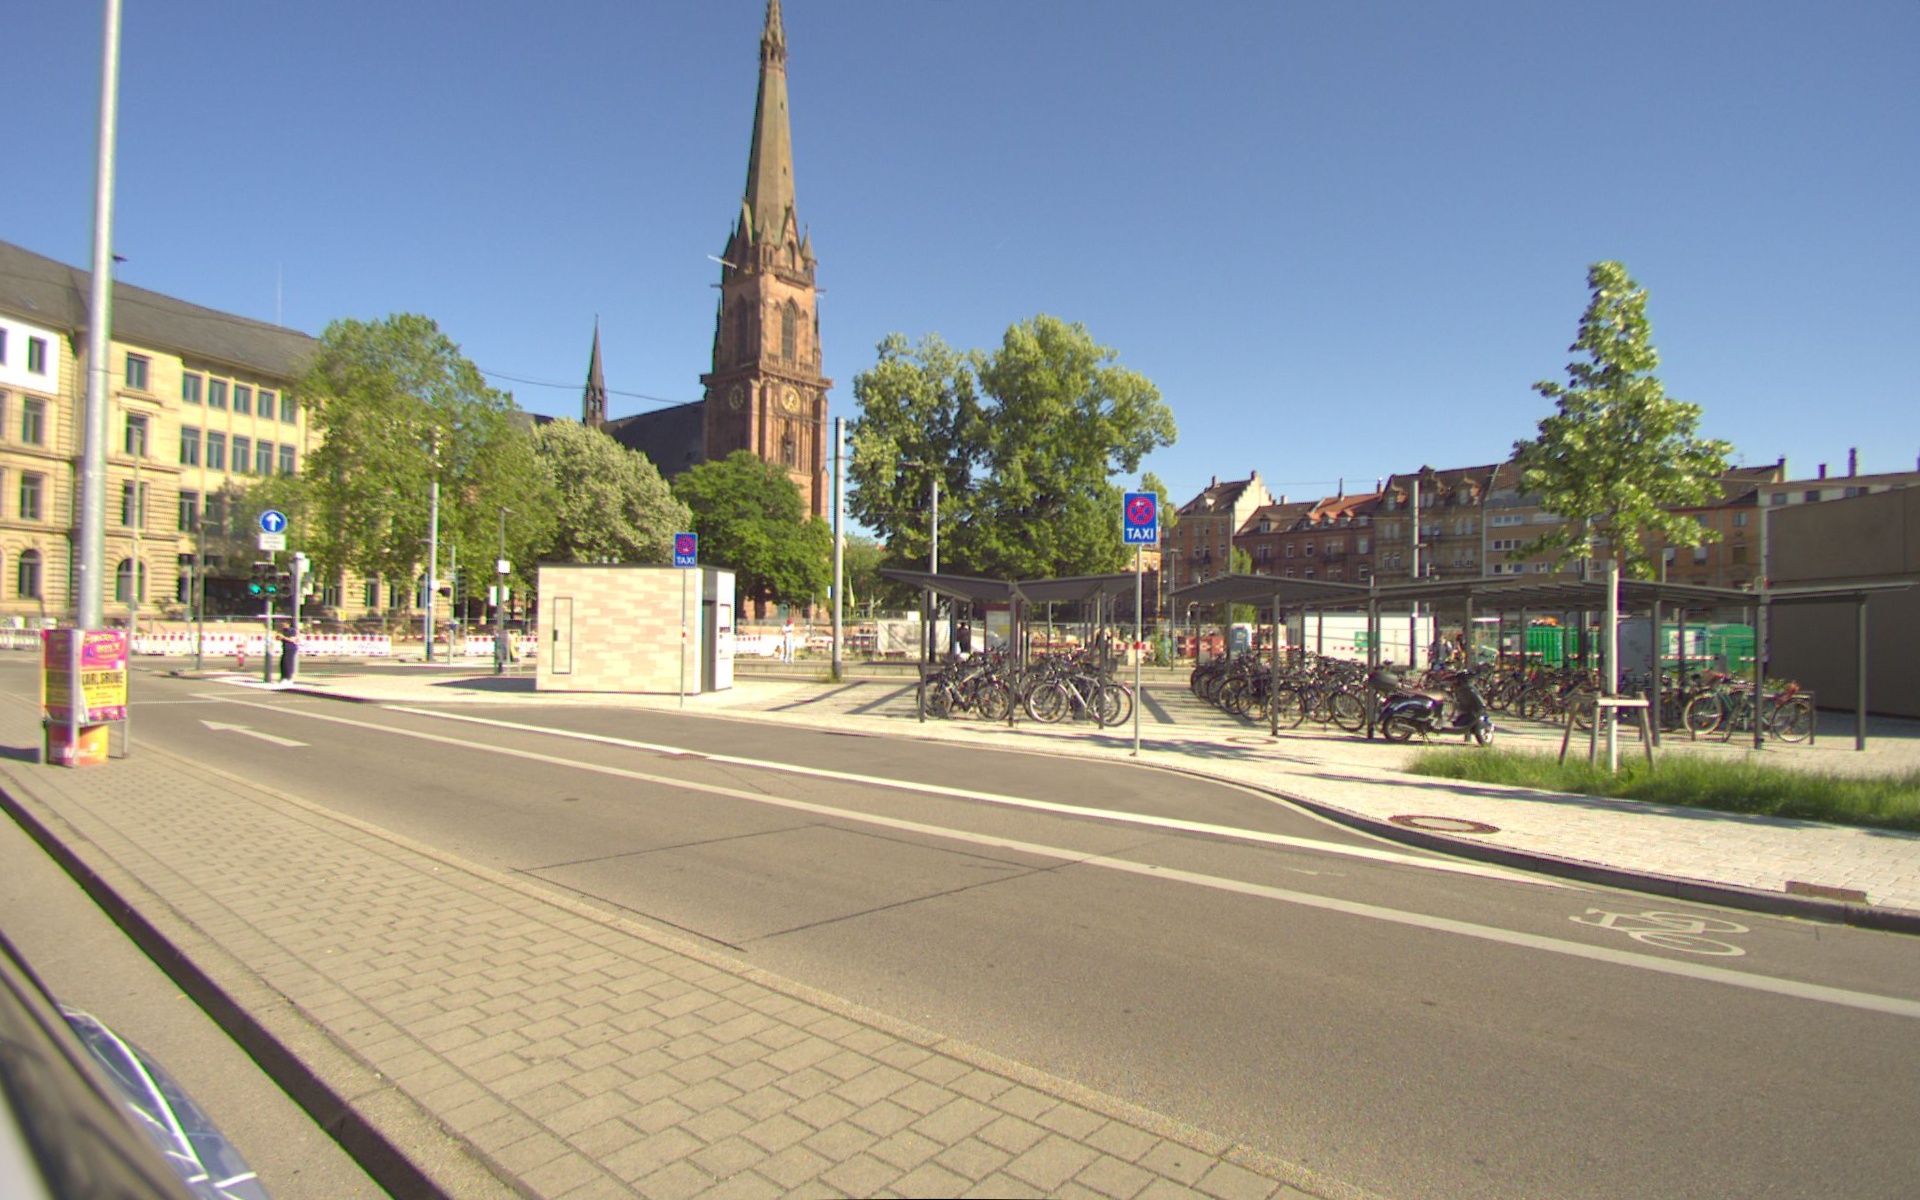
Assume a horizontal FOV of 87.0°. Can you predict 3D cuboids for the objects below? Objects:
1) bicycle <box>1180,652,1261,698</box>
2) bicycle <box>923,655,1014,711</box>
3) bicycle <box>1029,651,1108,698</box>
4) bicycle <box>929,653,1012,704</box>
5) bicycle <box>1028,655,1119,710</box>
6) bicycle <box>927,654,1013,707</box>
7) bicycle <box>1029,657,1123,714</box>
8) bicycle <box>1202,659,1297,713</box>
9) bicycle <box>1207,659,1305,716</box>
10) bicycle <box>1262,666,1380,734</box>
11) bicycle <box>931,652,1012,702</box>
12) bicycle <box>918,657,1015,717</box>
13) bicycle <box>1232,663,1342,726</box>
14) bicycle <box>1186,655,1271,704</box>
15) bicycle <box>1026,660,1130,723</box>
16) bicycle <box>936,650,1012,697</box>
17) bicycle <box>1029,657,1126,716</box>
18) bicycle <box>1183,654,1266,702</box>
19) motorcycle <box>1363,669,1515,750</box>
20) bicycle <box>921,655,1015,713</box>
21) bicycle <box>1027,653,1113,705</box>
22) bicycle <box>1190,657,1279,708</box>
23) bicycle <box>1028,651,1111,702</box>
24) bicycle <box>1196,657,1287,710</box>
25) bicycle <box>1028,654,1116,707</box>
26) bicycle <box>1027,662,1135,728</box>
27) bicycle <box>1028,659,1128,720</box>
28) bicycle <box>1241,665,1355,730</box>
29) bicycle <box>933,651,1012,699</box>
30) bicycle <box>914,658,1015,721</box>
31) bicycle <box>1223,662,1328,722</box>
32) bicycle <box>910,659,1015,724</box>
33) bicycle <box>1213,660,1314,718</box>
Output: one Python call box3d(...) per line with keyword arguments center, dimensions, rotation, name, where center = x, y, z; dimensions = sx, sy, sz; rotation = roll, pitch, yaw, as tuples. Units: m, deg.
box3d(center=(6.231, 1.794, 24.258), dimensions=(1.765, 1.046, 0.567), rotation=(1, -3, 4), name="bicycle")
box3d(center=(0.185, 1.640, 20.158), dimensions=(1.765, 1.046, 0.567), rotation=(1, -3, 4), name="bicycle")
box3d(center=(2.517, 1.726, 23.552), dimensions=(1.765, 1.046, 0.567), rotation=(1, -3, 4), name="bicycle")
box3d(center=(0.240, 1.700, 22.056), dimensions=(1.765, 1.046, 0.567), rotation=(1, -3, 4), name="bicycle")
box3d(center=(2.275, 1.650, 20.387), dimensions=(1.765, 1.046, 0.567), rotation=(1, -3, 4), name="bicycle")
box3d(center=(0.220, 1.686, 21.391), dimensions=(1.765, 1.046, 0.567), rotation=(1, -3, 4), name="bicycle")
box3d(center=(2.256, 1.655, 19.772), dimensions=(1.765, 1.046, 0.567), rotation=(1, -3, 4), name="bicycle")
box3d(center=(5.903, 1.749, 20.705), dimensions=(1.765, 1.046, 0.567), rotation=(1, -3, 4), name="bicycle")
box3d(center=(5.864, 1.731, 20.091), dimensions=(1.765, 1.046, 0.567), rotation=(1, -3, 4), name="bicycle")
box3d(center=(6.028, 1.660, 16.947), dimensions=(1.765, 1.046, 0.567), rotation=(1, -3, 4), name="bicycle")
box3d(center=(0.263, 1.710, 22.652), dimensions=(1.765, 1.046, 0.567), rotation=(1, -3, 4), name="bicycle")
box3d(center=(0.129, 1.604, 18.840), dimensions=(1.765, 1.046, 0.567), rotation=(1, -3, 4), name="bicycle")
box3d(center=(5.843, 1.677, 18.130), dimensions=(1.765, 1.046, 0.567), rotation=(1, -3, 4), name="bicycle")
box3d(center=(6.023, 1.779, 22.769), dimensions=(1.765, 1.046, 0.567), rotation=(1, -3, 4), name="bicycle")
box3d(center=(2.076, 1.606, 17.923), dimensions=(1.765, 1.046, 0.567), rotation=(1, -3, 4), name="bicycle")
box3d(center=(0.341, 1.731, 23.845), dimensions=(1.765, 1.046, 0.567), rotation=(1, -3, 4), name="bicycle")
box3d(center=(2.207, 1.636, 19.173), dimensions=(1.765, 1.046, 0.567), rotation=(1, -3, 4), name="bicycle")
box3d(center=(6.132, 1.796, 23.493), dimensions=(1.765, 1.046, 0.567), rotation=(1, -3, 4), name="bicycle")
box3d(center=(7.174, 1.627, 15.236), dimensions=(1.962, 1.128, 0.593), rotation=(0, -2, 8), name="motorcycle")
box3d(center=(0.167, 1.617, 19.527), dimensions=(1.765, 1.046, 0.567), rotation=(1, -3, 4), name="bicycle")
box3d(center=(2.335, 1.676, 21.627), dimensions=(1.765, 1.046, 0.567), rotation=(1, -3, 4), name="bicycle")
box3d(center=(5.929, 1.772, 21.899), dimensions=(1.765, 1.046, 0.567), rotation=(1, -3, 4), name="bicycle")
box3d(center=(2.398, 1.675, 22.227), dimensions=(1.765, 1.046, 0.567), rotation=(1, -3, 4), name="bicycle")
box3d(center=(5.910, 1.749, 21.305), dimensions=(1.765, 1.046, 0.567), rotation=(1, -3, 4), name="bicycle")
box3d(center=(2.307, 1.660, 20.989), dimensions=(1.765, 1.046, 0.567), rotation=(1, -3, 4), name="bicycle")
box3d(center=(2.046, 1.602, 17.273), dimensions=(1.765, 1.046, 0.567), rotation=(1, -3, 4), name="bicycle")
box3d(center=(2.143, 1.623, 18.563), dimensions=(1.765, 1.046, 0.567), rotation=(1, -3, 4), name="bicycle")
box3d(center=(5.843, 1.677, 17.544), dimensions=(1.765, 1.046, 0.567), rotation=(1, -3, 4), name="bicycle")
box3d(center=(0.295, 1.721, 23.254), dimensions=(1.765, 1.046, 0.567), rotation=(1, -3, 4), name="bicycle")
box3d(center=(0.094, 1.582, 18.085), dimensions=(1.765, 1.046, 0.567), rotation=(1, -3, 4), name="bicycle")
box3d(center=(5.846, 1.695, 18.788), dimensions=(1.765, 1.046, 0.567), rotation=(1, -3, 4), name="bicycle")
box3d(center=(0.058, 1.567, 17.434), dimensions=(1.765, 1.046, 0.567), rotation=(1, -3, 4), name="bicycle")
box3d(center=(5.812, 1.693, 19.419), dimensions=(1.765, 1.046, 0.567), rotation=(1, -3, 4), name="bicycle")
